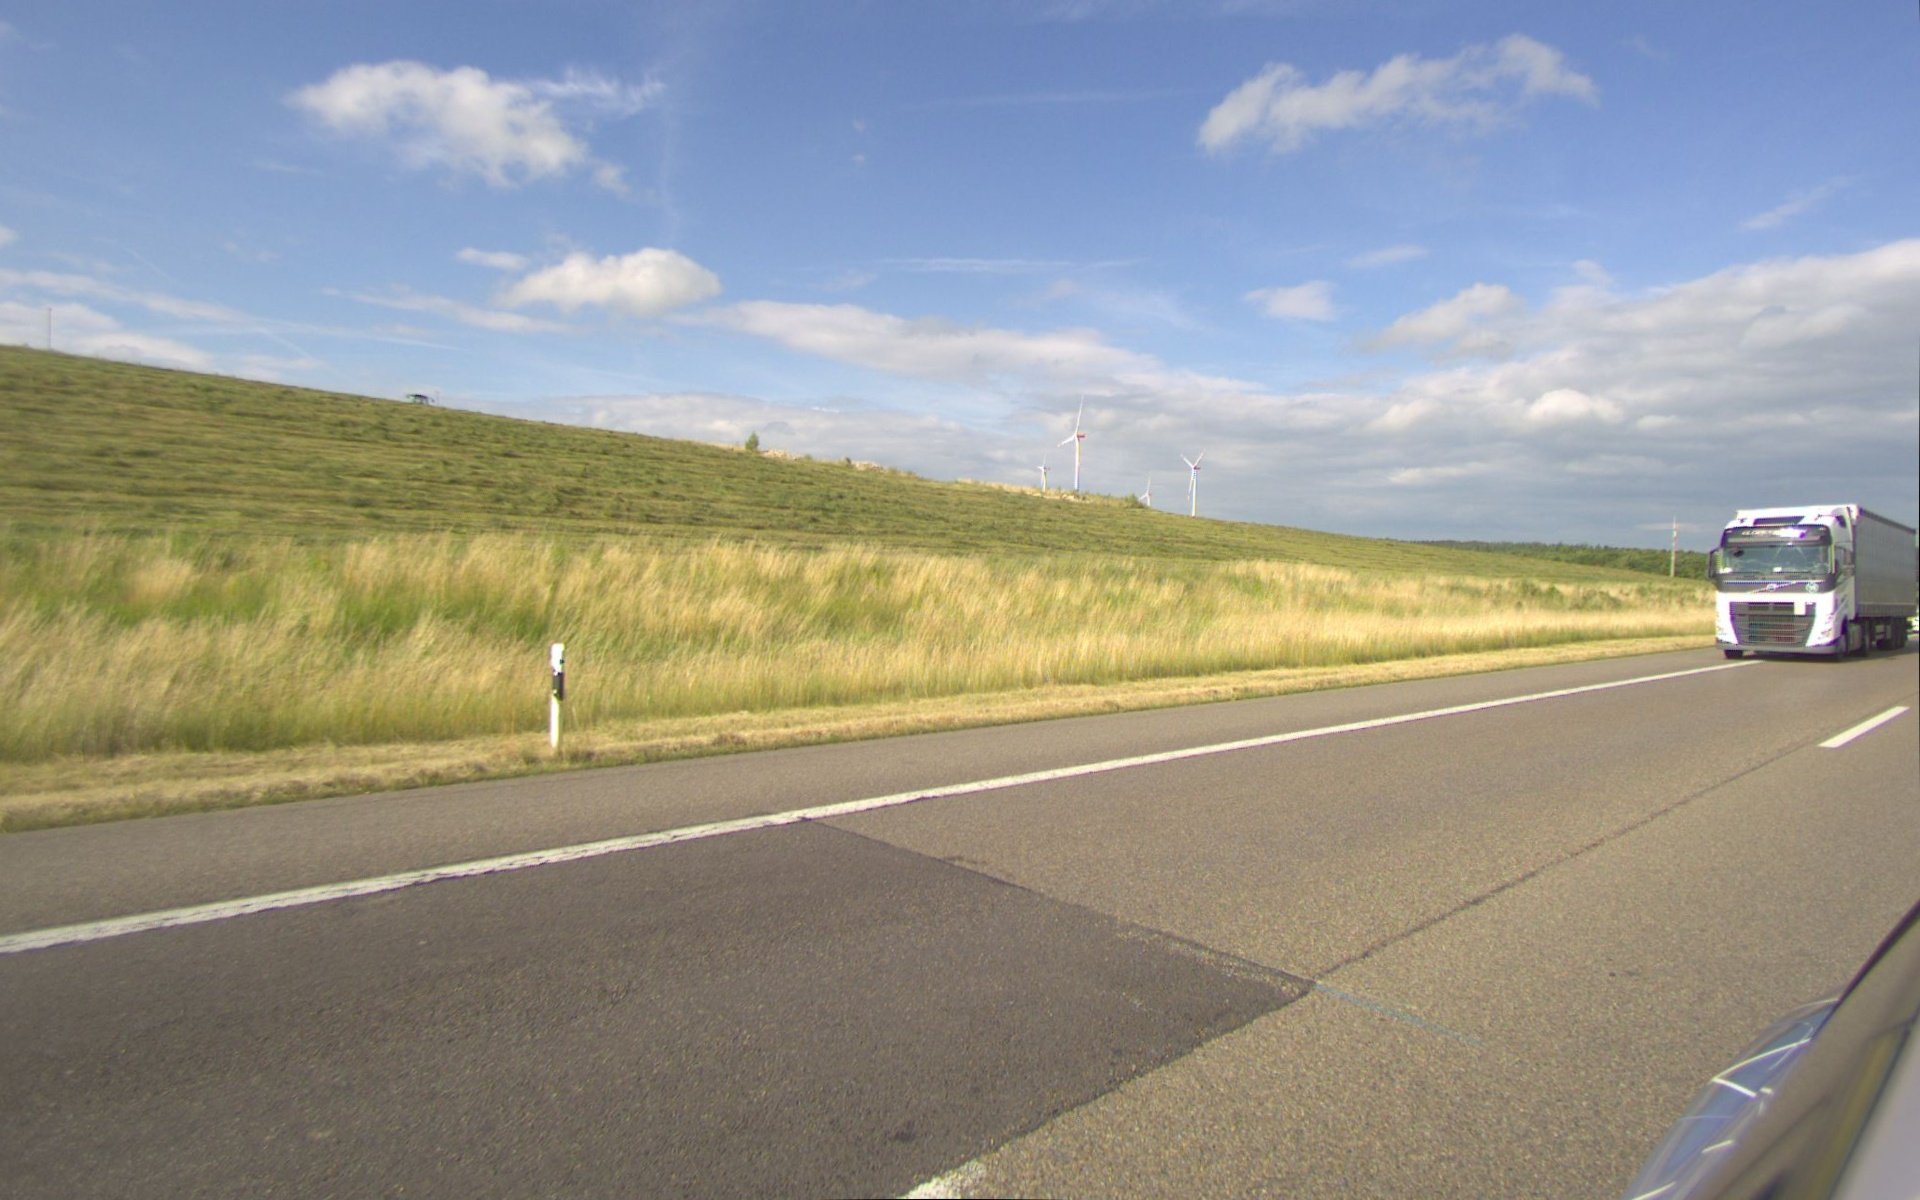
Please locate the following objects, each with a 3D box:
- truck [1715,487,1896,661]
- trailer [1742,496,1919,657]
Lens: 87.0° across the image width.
[{"bbox_3d":[22.470,-0.641,26.792,6.011,4.091,2.606,1,1,-40],"label":"truck"},{"bbox_3d":[27.451,-0.607,31.107,13.456,4.091,2.622,1,1,-41],"label":"trailer"}]
